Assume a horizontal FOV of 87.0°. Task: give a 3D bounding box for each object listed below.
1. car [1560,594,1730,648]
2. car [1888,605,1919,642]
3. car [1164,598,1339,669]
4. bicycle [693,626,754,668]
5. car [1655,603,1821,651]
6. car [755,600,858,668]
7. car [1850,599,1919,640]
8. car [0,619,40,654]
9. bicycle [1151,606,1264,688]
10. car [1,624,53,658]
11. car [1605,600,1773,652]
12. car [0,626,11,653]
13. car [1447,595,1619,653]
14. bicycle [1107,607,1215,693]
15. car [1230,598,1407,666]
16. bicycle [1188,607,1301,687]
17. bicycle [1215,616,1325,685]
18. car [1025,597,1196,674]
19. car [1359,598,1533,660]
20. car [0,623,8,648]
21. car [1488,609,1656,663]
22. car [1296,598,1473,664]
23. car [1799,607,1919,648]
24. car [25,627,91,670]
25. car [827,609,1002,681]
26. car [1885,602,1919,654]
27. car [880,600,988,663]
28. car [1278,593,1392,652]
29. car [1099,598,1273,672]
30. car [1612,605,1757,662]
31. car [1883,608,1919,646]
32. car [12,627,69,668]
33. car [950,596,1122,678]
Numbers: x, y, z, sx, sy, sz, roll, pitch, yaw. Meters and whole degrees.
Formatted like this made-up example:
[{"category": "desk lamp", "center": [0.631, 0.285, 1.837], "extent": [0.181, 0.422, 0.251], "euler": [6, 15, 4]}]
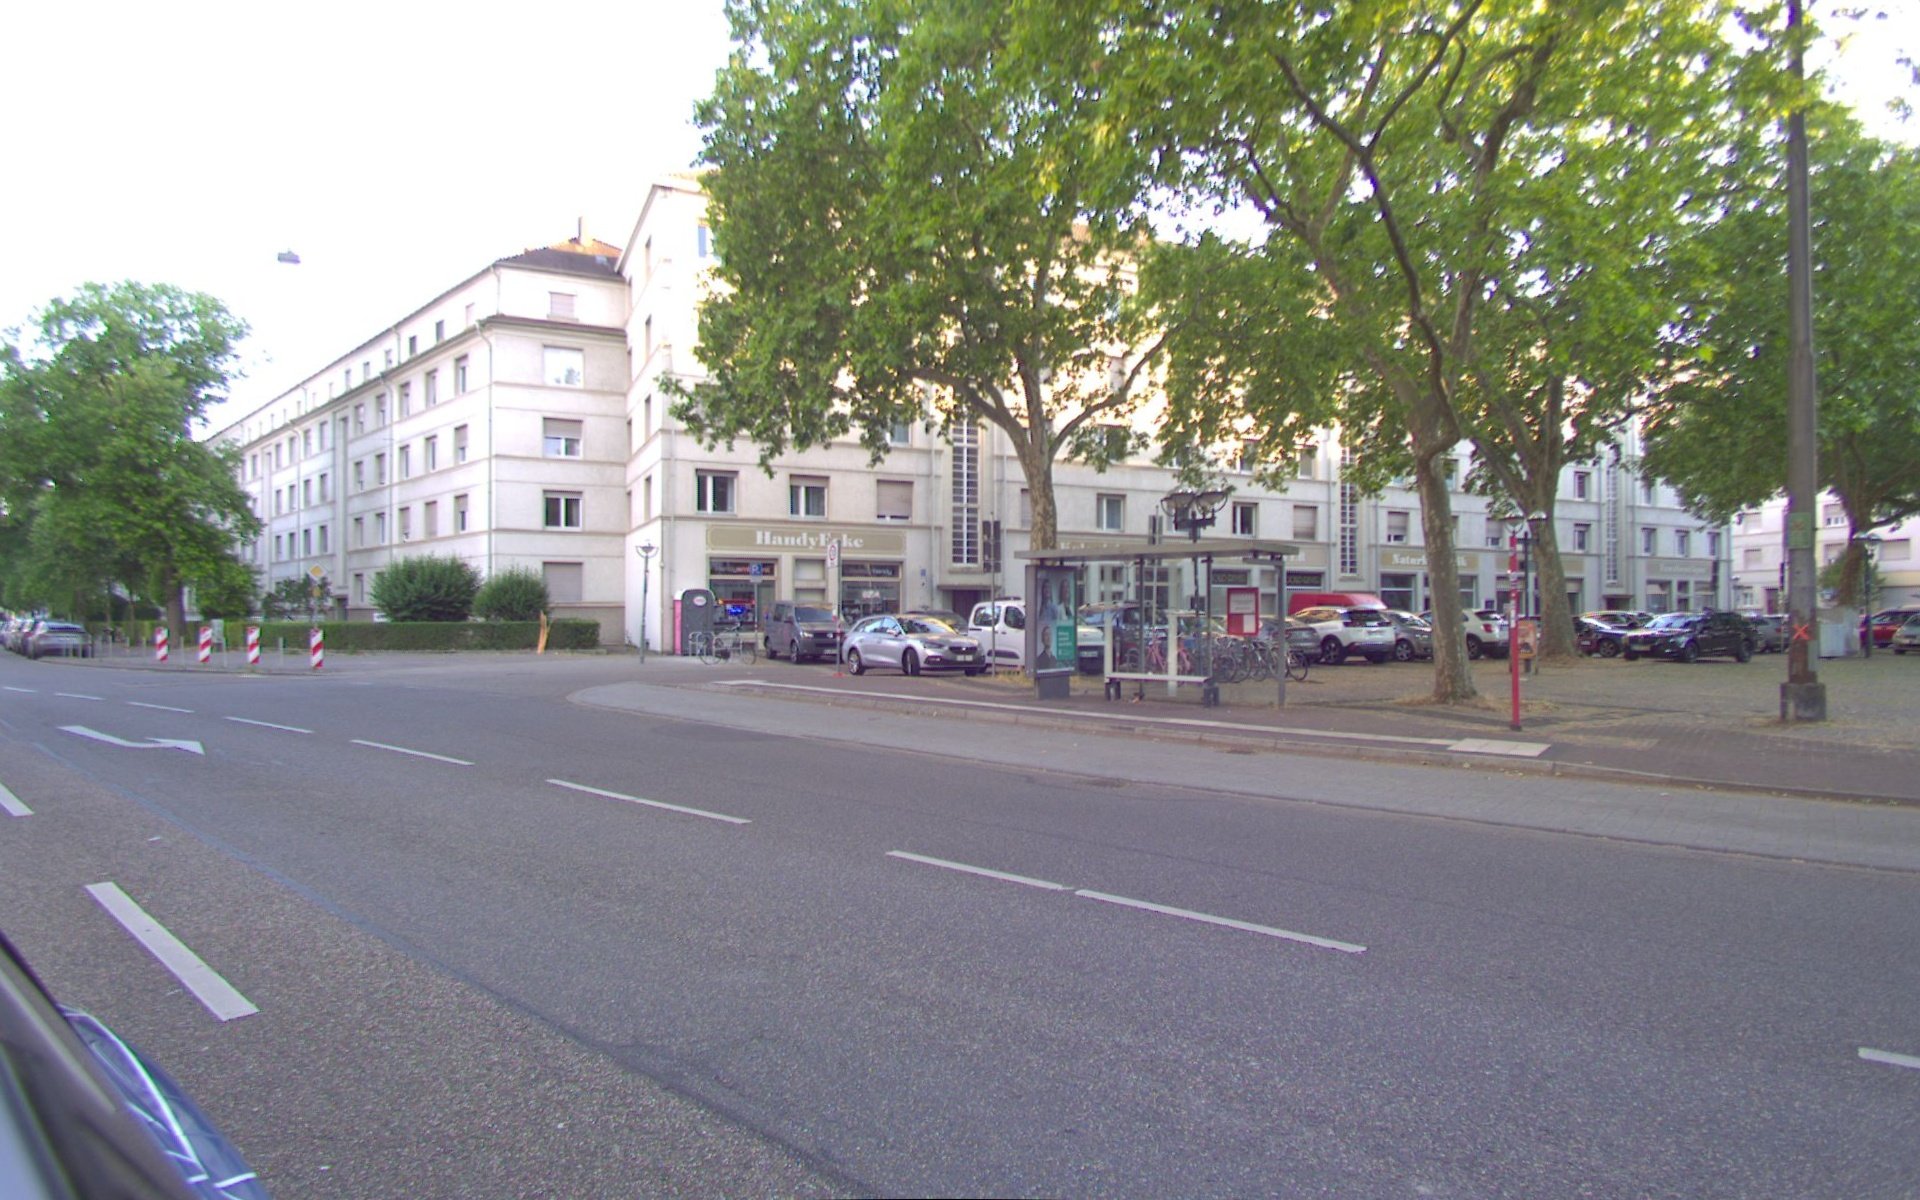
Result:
[{"category": "car", "center": [24.740, 0.827, 36.756], "extent": [2.057, 1.795, 4.655], "euler": [1, -3, -28]}, {"category": "car", "center": [47.580, 1.119, 48.250], "extent": [1.969, 1.748, 4.648], "euler": [2, -4, -40]}, {"category": "car", "center": [7.975, 0.977, 28.209], "extent": [1.965, 1.795, 4.655], "euler": [1, -3, -28]}, {"category": "bicycle", "center": [-7.169, 1.408, 30.662], "extent": [1.776, 1.215, 0.649], "euler": [-1, 0, -16]}, {"category": "car", "center": [29.922, 1.106, 39.088], "extent": [1.965, 1.748, 4.655], "euler": [1, -3, -28]}, {"category": "car", "center": [-5.090, 1.050, 33.073], "extent": [1.965, 1.970, 4.656], "euler": [1, 0, -26]}, {"category": "car", "center": [43.307, 0.881, 45.452], "extent": [1.968, 1.824, 4.658], "euler": [2, -4, -38]}, {"category": "car", "center": [-52.880, 2.023, 56.704], "extent": [1.866, 1.787, 4.263], "euler": [-1, 0, -44]}, {"category": "bicycle", "center": [5.236, 0.952, 21.647], "extent": [0.795, 1.626, 2.754], "euler": [0, 0, -24]}, {"category": "car", "center": [-48.541, 2.101, 52.622], "extent": [1.866, 1.612, 4.263], "euler": [-1, 0, -44]}, {"category": "car", "center": [27.082, 1.021, 37.769], "extent": [1.965, 1.795, 4.655], "euler": [1, -3, -28]}, {"category": "car", "center": [-70.053, 2.881, 73.256], "extent": [1.866, 1.840, 4.263], "euler": [-1, 0, -44]}, {"category": "car", "center": [19.182, 0.877, 34.113], "extent": [1.965, 1.795, 4.655], "euler": [1, -3, -28]}, {"category": "bicycle", "center": [4.057, 0.965, 20.719], "extent": [0.680, 1.626, 2.754], "euler": [0, 0, -24]}, {"category": "car", "center": [10.181, 0.964, 29.141], "extent": [1.965, 1.795, 4.655], "euler": [1, -3, -28]}, {"category": "bicycle", "center": [6.175, 0.970, 22.163], "extent": [0.795, 1.626, 2.754], "euler": [0, 0, -24]}, {"category": "bicycle", "center": [6.886, 1.089, 22.676], "extent": [0.680, 1.394, 2.754], "euler": [0, 0, -24]}, {"category": "car", "center": [3.765, 0.957, 26.222], "extent": [1.965, 1.795, 4.655], "euler": [1, -3, -28]}, {"category": "car", "center": [15.172, 0.953, 31.879], "extent": [1.965, 1.795, 4.655], "euler": [1, -3, -28]}, {"category": "car", "center": [-76.315, 2.768, 79.745], "extent": [1.866, 1.879, 4.263], "euler": [-1, 0, -44]}, {"category": "car", "center": [21.365, 1.304, 35.572], "extent": [1.965, 1.748, 4.655], "euler": [1, -3, -28]}, {"category": "car", "center": [12.601, 0.975, 30.378], "extent": [1.965, 1.795, 4.655], "euler": [1, -3, -28]}, {"category": "car", "center": [40.632, 1.249, 45.102], "extent": [1.969, 1.748, 4.648], "euler": [2, -4, -40]}, {"category": "car", "center": [-37.312, 1.959, 41.835], "extent": [1.867, 1.612, 4.003], "euler": [-1, 0, -44]}, {"category": "car", "center": [-1.193, 1.076, 23.894], "extent": [1.967, 1.515, 4.652], "euler": [2, -3, -35]}, {"category": "car", "center": [33.074, 0.899, 33.891], "extent": [3.696, 1.674, 1.680], "euler": [-1, 0, -23]}, {"category": "car", "center": [-0.990, 1.046, 35.419], "extent": [1.965, 1.970, 4.656], "euler": [1, 0, -26]}, {"category": "car", "center": [16.648, 0.956, 45.187], "extent": [1.965, 2.460, 4.656], "euler": [1, 0, -26]}, {"category": "car", "center": [5.921, 0.979, 27.127], "extent": [1.965, 1.795, 4.655], "euler": [1, -3, -28]}, {"category": "car", "center": [20.751, 0.936, 28.985], "extent": [3.696, 1.540, 1.680], "euler": [1, 0, -23]}, {"category": "car", "center": [45.724, 1.215, 46.511], "extent": [1.969, 1.748, 4.648], "euler": [2, -4, -40]}, {"category": "car", "center": [-43.260, 2.190, 47.573], "extent": [1.866, 1.703, 4.263], "euler": [-1, 0, -44]}, {"category": "car", "center": [1.721, 0.939, 24.764], "extent": [1.965, 1.795, 4.655], "euler": [1, -3, -28]}]
